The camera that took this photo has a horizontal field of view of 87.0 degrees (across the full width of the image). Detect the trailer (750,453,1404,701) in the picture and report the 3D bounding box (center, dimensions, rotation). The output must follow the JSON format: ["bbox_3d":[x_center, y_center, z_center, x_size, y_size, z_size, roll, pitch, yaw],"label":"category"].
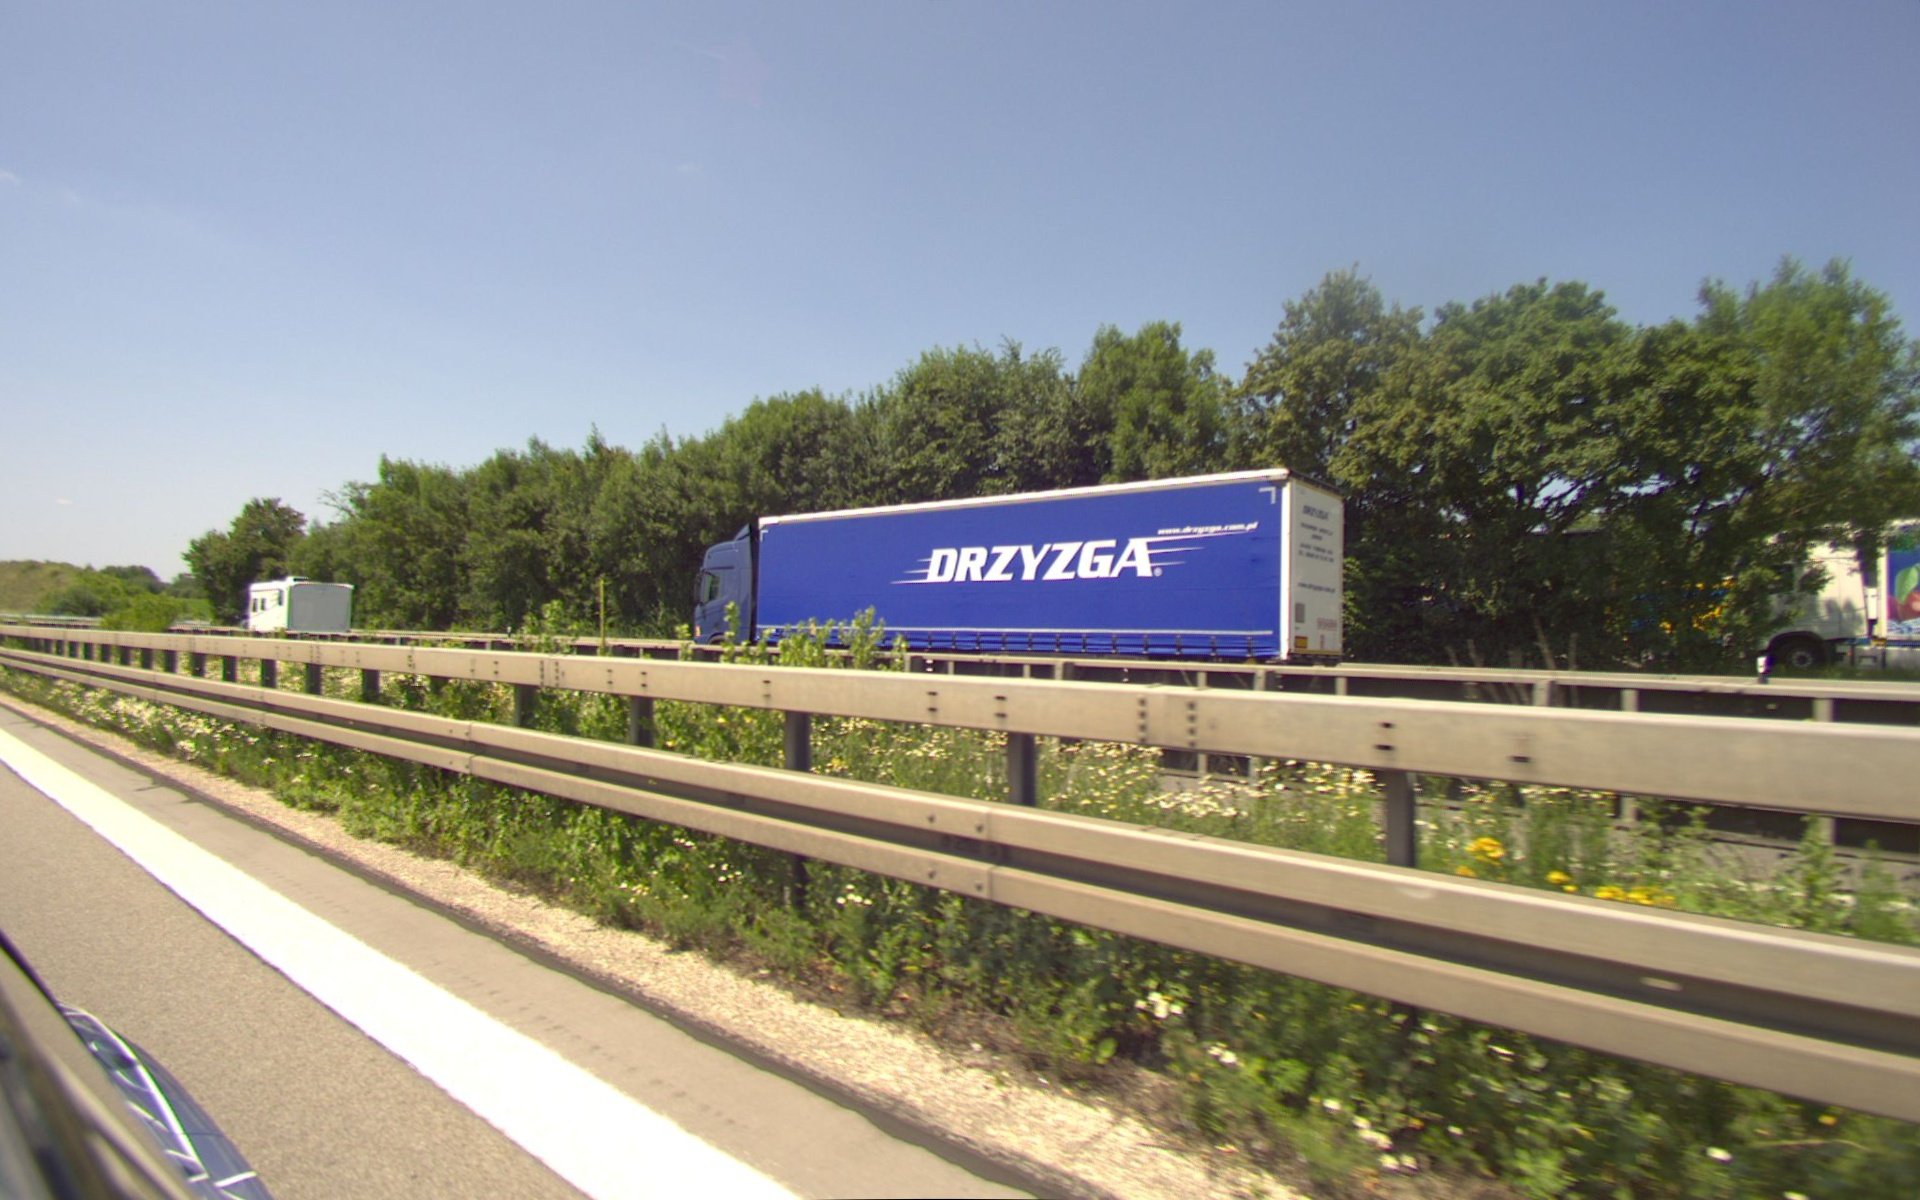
[{"bbox_3d":[1.261,-0.329,21.154,14.522,3.762,2.813,0,0,41],"label":"trailer"}]

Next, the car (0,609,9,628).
[{"bbox_3d":[-69.436,1.324,72.326,3.998,1.320,1.781,0,0,41],"label":"car"}]

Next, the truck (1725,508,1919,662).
[{"bbox_3d":[23.917,-0.371,24.590,8.389,3.661,2.529,0,0,40],"label":"truck"}]

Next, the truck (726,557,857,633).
[{"bbox_3d":[-8.776,-0.245,51.986,7.897,3.675,1.973,0,0,41],"label":"truck"}]

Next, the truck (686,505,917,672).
[{"bbox_3d":[-4.139,-0.266,25.839,5.690,3.773,2.819,0,0,41],"label":"truck"}]

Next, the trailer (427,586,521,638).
[{"bbox_3d":[-36.207,0.839,75.116,11.100,3.628,1.973,0,0,41],"label":"trailer"}]

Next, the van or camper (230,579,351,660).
[{"bbox_3d":[-26.891,0.815,40.527,6.950,2.992,2.246,-1,-3,42],"label":"van or camper"}]
